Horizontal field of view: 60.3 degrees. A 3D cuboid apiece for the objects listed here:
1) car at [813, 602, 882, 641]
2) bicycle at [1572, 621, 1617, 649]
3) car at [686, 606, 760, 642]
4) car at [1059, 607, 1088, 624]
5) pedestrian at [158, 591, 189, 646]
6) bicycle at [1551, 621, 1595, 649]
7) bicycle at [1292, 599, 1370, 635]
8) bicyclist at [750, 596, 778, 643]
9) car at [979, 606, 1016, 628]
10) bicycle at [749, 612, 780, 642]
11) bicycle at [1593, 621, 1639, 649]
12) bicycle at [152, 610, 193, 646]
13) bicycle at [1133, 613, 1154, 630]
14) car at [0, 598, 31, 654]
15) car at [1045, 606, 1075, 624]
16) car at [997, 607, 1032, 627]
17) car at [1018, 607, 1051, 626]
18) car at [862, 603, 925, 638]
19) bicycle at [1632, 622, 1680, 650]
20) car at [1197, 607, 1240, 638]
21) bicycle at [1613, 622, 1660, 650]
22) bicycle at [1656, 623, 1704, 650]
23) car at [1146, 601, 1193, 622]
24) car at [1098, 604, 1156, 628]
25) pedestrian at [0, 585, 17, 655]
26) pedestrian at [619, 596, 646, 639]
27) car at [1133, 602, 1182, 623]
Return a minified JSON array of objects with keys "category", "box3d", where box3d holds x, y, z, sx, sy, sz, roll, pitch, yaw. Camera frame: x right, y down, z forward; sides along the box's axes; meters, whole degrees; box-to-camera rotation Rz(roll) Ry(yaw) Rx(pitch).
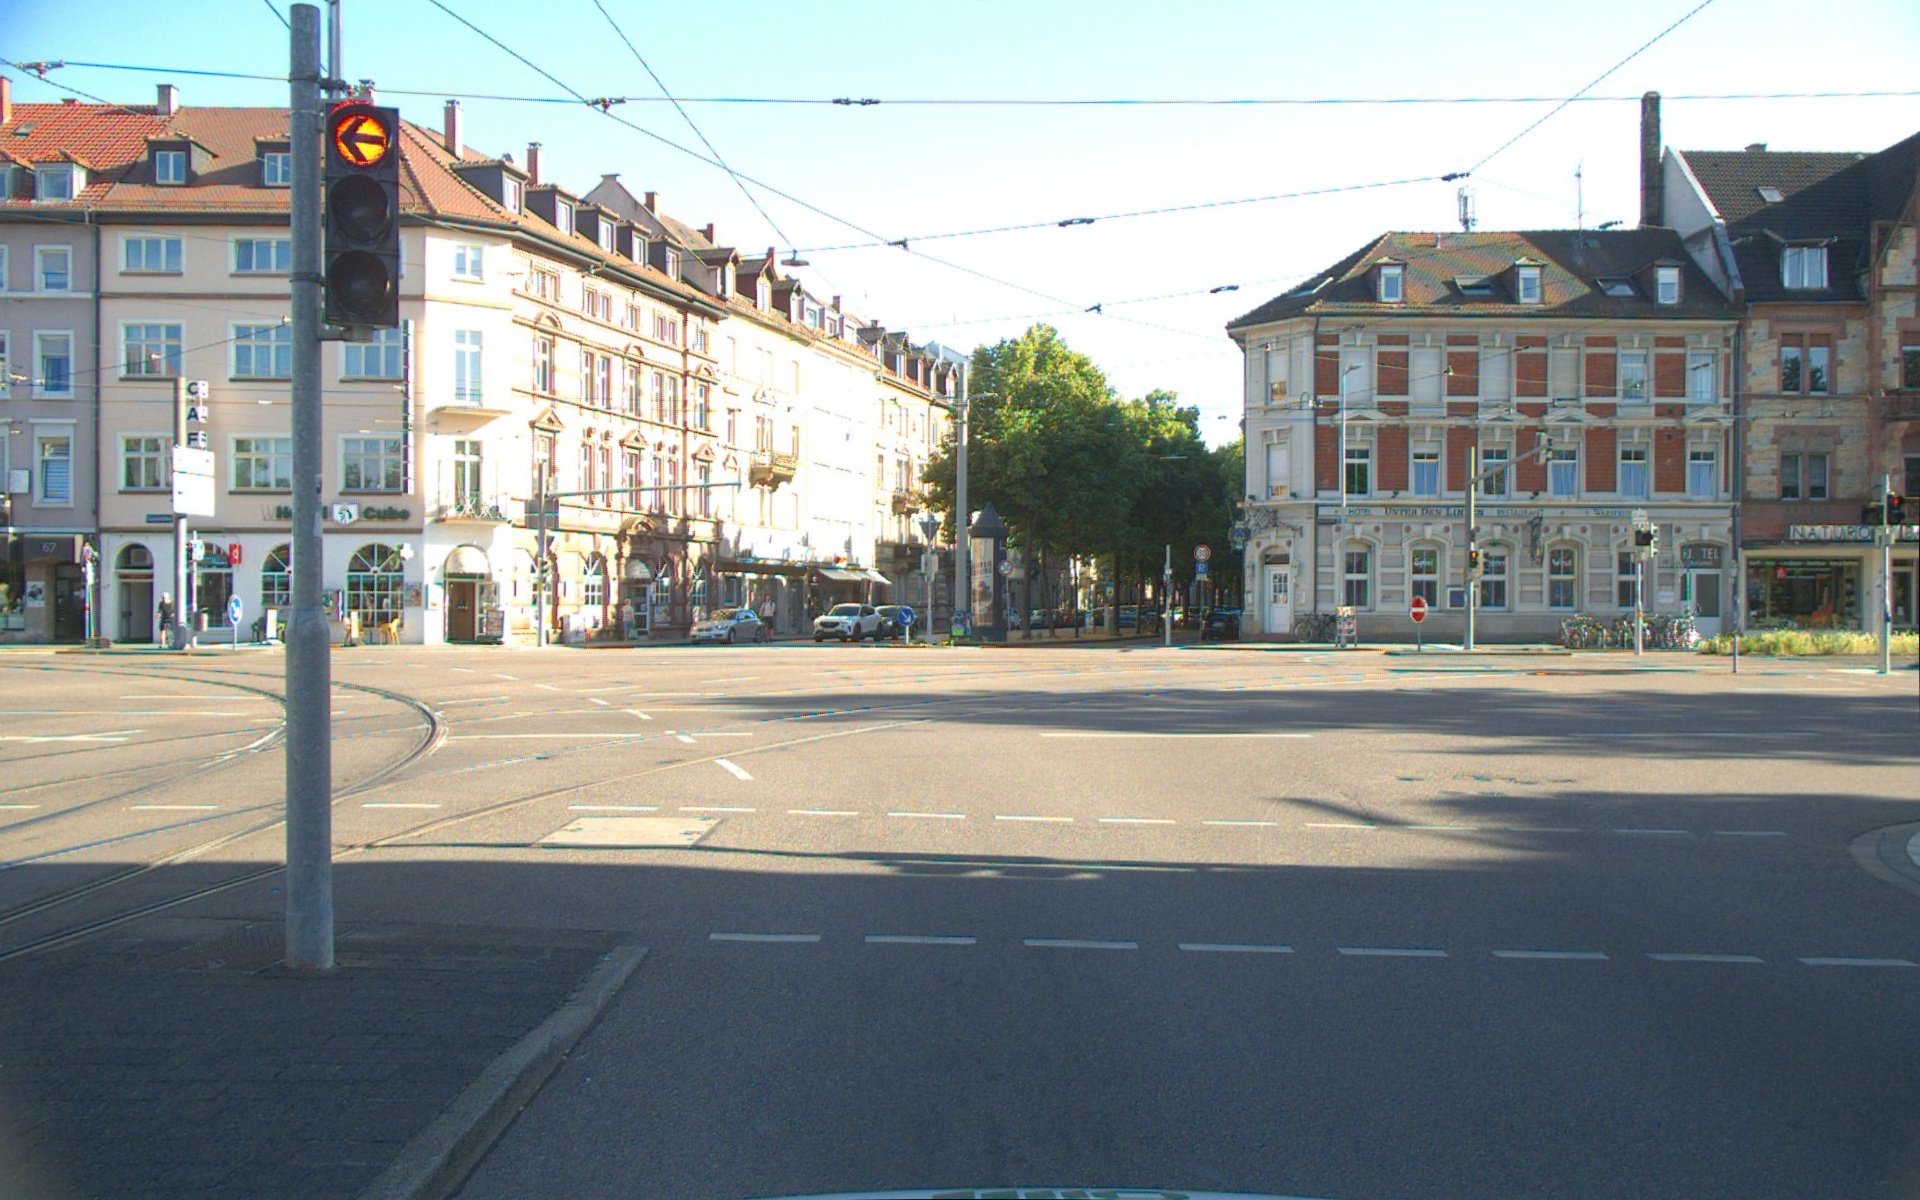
[{"category":"car","box3d":[-4.532,0.842,67.222,1.642,1.509,3.774,0,0,16]},{"category":"bicycle","box3d":[20.483,1.123,53.448,0.645,0.855,2.160,1,0,1]},{"category":"car","box3d":[-9.537,0.931,66.741,1.642,1.378,3.593,0,0,16]},{"category":"car","box3d":[9.324,1.251,135.890,1.642,1.378,3.593,0,0,16]},{"category":"pedestrian","box3d":[-24.680,0.583,51.905,0.570,1.699,0.752,1,-1,-1]},{"category":"bicycle","box3d":[19.763,1.111,53.361,0.645,0.855,2.160,1,0,1]},{"category":"bicycle","box3d":[12.869,0.591,57.451,2.504,1.194,0.818,1,-1,-4]},{"category":"bicyclist","box3d":[-7.712,0.765,64.999,0.761,1.834,1.056,1,-1,13]},{"category":"car","box3d":[2.570,1.138,111.334,1.642,1.378,3.593,0,0,16]},{"category":"bicycle","box3d":[-7.678,1.045,65.122,0.687,1.137,1.636,1,0,13]},{"category":"bicycle","box3d":[21.194,1.136,53.462,0.645,0.855,2.160,1,0,1]},{"category":"bicycle","box3d":[-24.686,0.878,51.870,0.561,1.096,1.497,1,0,-1]},{"category":"bicycle","box3d":[11.057,1.296,99.621,0.625,1.039,1.840,1,0,-14]},{"category":"car","box3d":[-32.150,0.785,52.254,4.276,1.741,2.306,1,0,1]},{"category":"car","box3d":[7.899,1.214,130.838,1.642,1.378,3.593,0,0,16]},{"category":"car","box3d":[3.828,1.158,115.509,1.642,1.378,3.593,0,0,16]},{"category":"car","box3d":[5.540,1.203,122.496,1.642,1.378,3.593,0,0,16]},{"category":"car","box3d":[-2.945,0.886,73.547,1.642,1.509,3.950,0,0,16]},{"category":"bicycle","box3d":[22.493,1.158,53.475,0.645,0.855,2.160,1,0,1]},{"category":"car","box3d":[12.962,1.107,82.743,1.642,1.509,3.950,0,0,16]},{"category":"bicycle","box3d":[21.865,1.147,53.495,0.645,0.855,2.160,1,0,1]},{"category":"bicycle","box3d":[23.281,1.172,53.520,0.645,0.855,2.160,1,0,1]},{"category":"car","box3d":[16.949,0.886,133.740,3.503,1.677,1.684,0,0,16]},{"category":"car","box3d":[11.720,1.116,115.828,3.819,1.677,1.684,0,0,16]},{"category":"pedestrian","box3d":[-22.150,0.448,37.810,0.539,1.605,0.832,1,-1,27]},{"category":"pedestrian","box3d":[-13.107,0.704,66.156,0.759,1.699,0.831,1,-1,15]},{"category":"car","box3d":[15.326,0.960,128.241,3.503,1.677,1.684,0,0,16]}]
